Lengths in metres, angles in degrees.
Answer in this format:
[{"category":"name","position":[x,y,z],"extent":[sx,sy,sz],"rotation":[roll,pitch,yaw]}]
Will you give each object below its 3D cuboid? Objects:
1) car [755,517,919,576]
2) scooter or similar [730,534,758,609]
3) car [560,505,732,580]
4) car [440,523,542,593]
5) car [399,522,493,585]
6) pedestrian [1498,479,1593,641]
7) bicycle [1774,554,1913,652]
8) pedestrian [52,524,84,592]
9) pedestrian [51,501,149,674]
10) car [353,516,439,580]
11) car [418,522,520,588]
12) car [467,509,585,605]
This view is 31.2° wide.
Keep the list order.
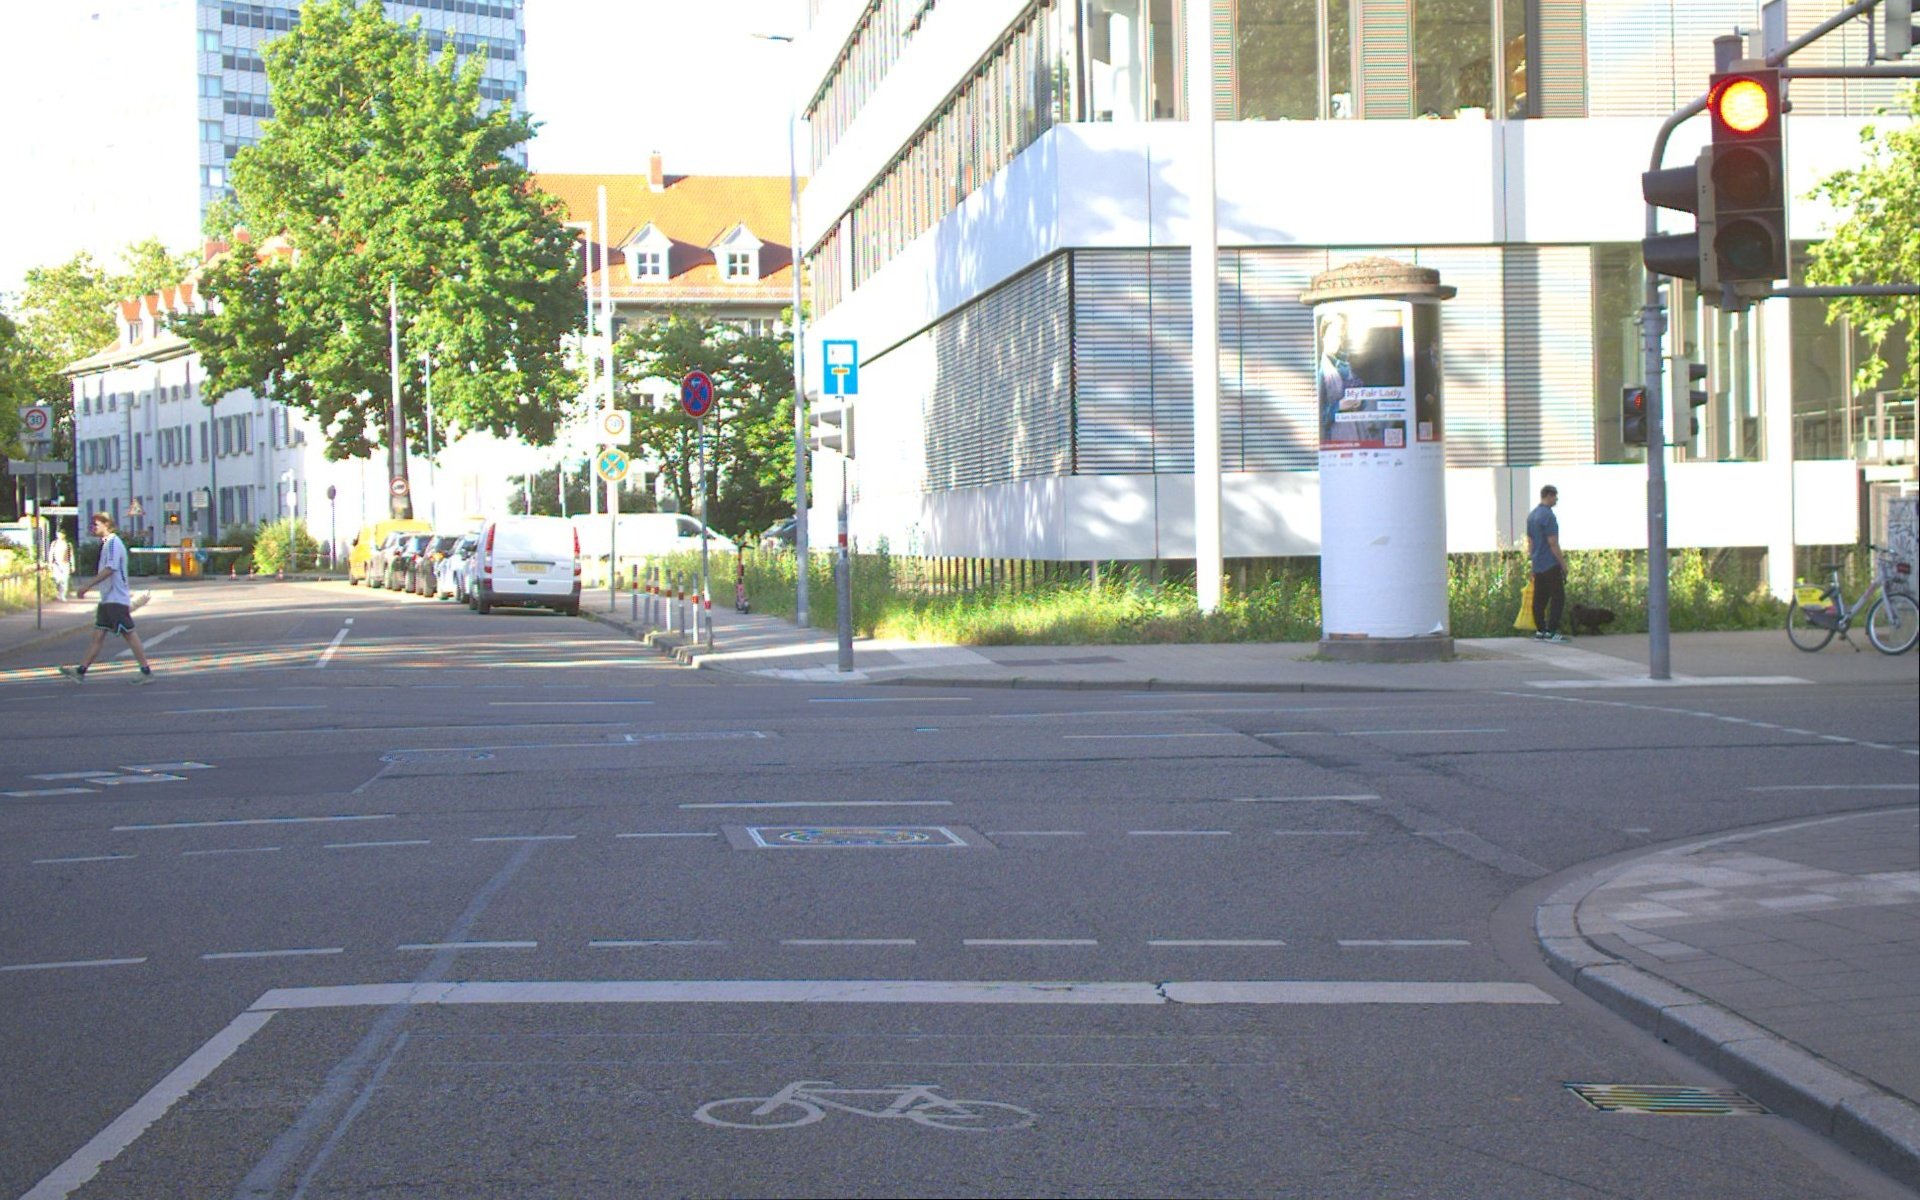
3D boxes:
[{"category":"car","position":[-3.757,-1.626,104.772],"extent":[4.635,1.719,2.001],"rotation":[1,0,-16]},{"category":"scooter or similar","position":[-3.660,-0.488,58.289],"extent":[0.437,1.252,1.420],"rotation":[-1,1,-4]},{"category":"car","position":[-9.404,-1.699,102.928],"extent":[4.791,2.151,2.001],"rotation":[1,0,-17]},{"category":"car","position":[-10.506,-0.932,76.805],"extent":[1.993,1.493,4.653],"rotation":[1,1,-11]},{"category":"car","position":[-12.881,-1.161,85.976],"extent":[1.993,1.493,4.653],"rotation":[1,1,-13]},{"category":"pedestrian","position":[6.637,-0.457,39.007],"extent":[0.914,1.809,0.762],"rotation":[1,0,-1]},{"category":"bicycle","position":[9.284,0.022,36.146],"extent":[0.378,1.005,1.432],"rotation":[-2,2,-42]},{"category":"pedestrian","position":[-20.973,-0.987,80.836],"extent":[0.699,1.581,0.637],"rotation":[1,0,-16]},{"category":"pedestrian","position":[-9.426,-0.137,37.704],"extent":[0.914,1.862,0.743],"rotation":[1,0,-4]},{"category":"car","position":[-15.740,-1.448,95.832],"extent":[1.993,1.719,4.653],"rotation":[1,1,-14]},{"category":"car","position":[-11.628,-1.057,81.252],"extent":[1.993,1.493,4.288],"rotation":[1,1,-13]},{"category":"car","position":[-8.221,-0.814,64.820],"extent":[1.993,1.719,4.653],"rotation":[1,1,-10]}]
